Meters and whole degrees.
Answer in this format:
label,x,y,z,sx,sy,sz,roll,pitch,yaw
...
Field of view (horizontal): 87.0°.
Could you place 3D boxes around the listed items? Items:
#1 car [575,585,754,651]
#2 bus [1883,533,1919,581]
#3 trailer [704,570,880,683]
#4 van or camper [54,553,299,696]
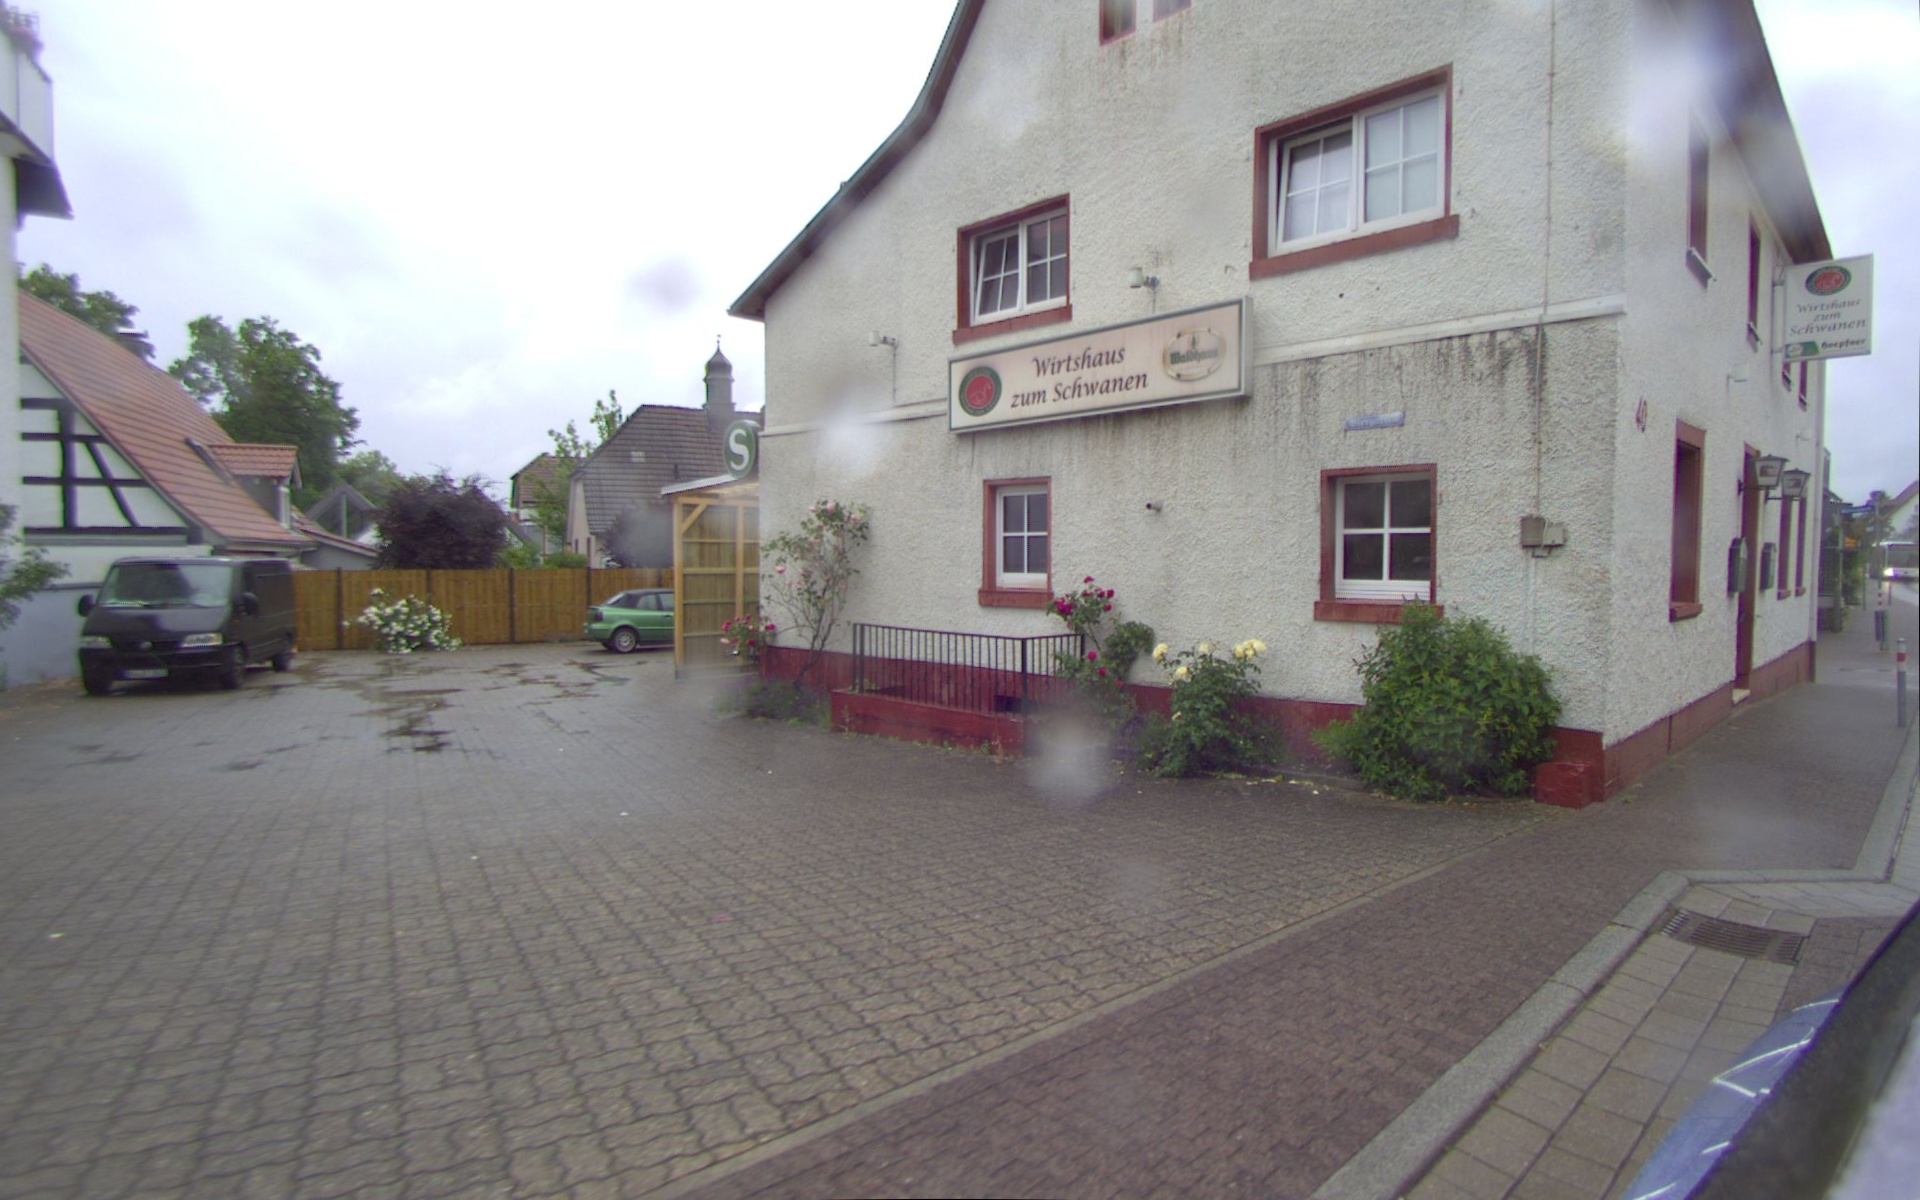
label,x,y,z,sx,sy,sz,roll,pitch,yaw
car,-6.891,0.372,23.640,3.750,1.393,1.635,-1,2,-30
bus,76.991,-3.506,81.623,2.880,3.654,11.817,1,3,39
trailer,-2.836,0.400,17.275,1.569,1.764,2.569,0,0,44
van or camper,-12.882,0.277,17.059,2.155,2.038,4.862,0,2,-24
